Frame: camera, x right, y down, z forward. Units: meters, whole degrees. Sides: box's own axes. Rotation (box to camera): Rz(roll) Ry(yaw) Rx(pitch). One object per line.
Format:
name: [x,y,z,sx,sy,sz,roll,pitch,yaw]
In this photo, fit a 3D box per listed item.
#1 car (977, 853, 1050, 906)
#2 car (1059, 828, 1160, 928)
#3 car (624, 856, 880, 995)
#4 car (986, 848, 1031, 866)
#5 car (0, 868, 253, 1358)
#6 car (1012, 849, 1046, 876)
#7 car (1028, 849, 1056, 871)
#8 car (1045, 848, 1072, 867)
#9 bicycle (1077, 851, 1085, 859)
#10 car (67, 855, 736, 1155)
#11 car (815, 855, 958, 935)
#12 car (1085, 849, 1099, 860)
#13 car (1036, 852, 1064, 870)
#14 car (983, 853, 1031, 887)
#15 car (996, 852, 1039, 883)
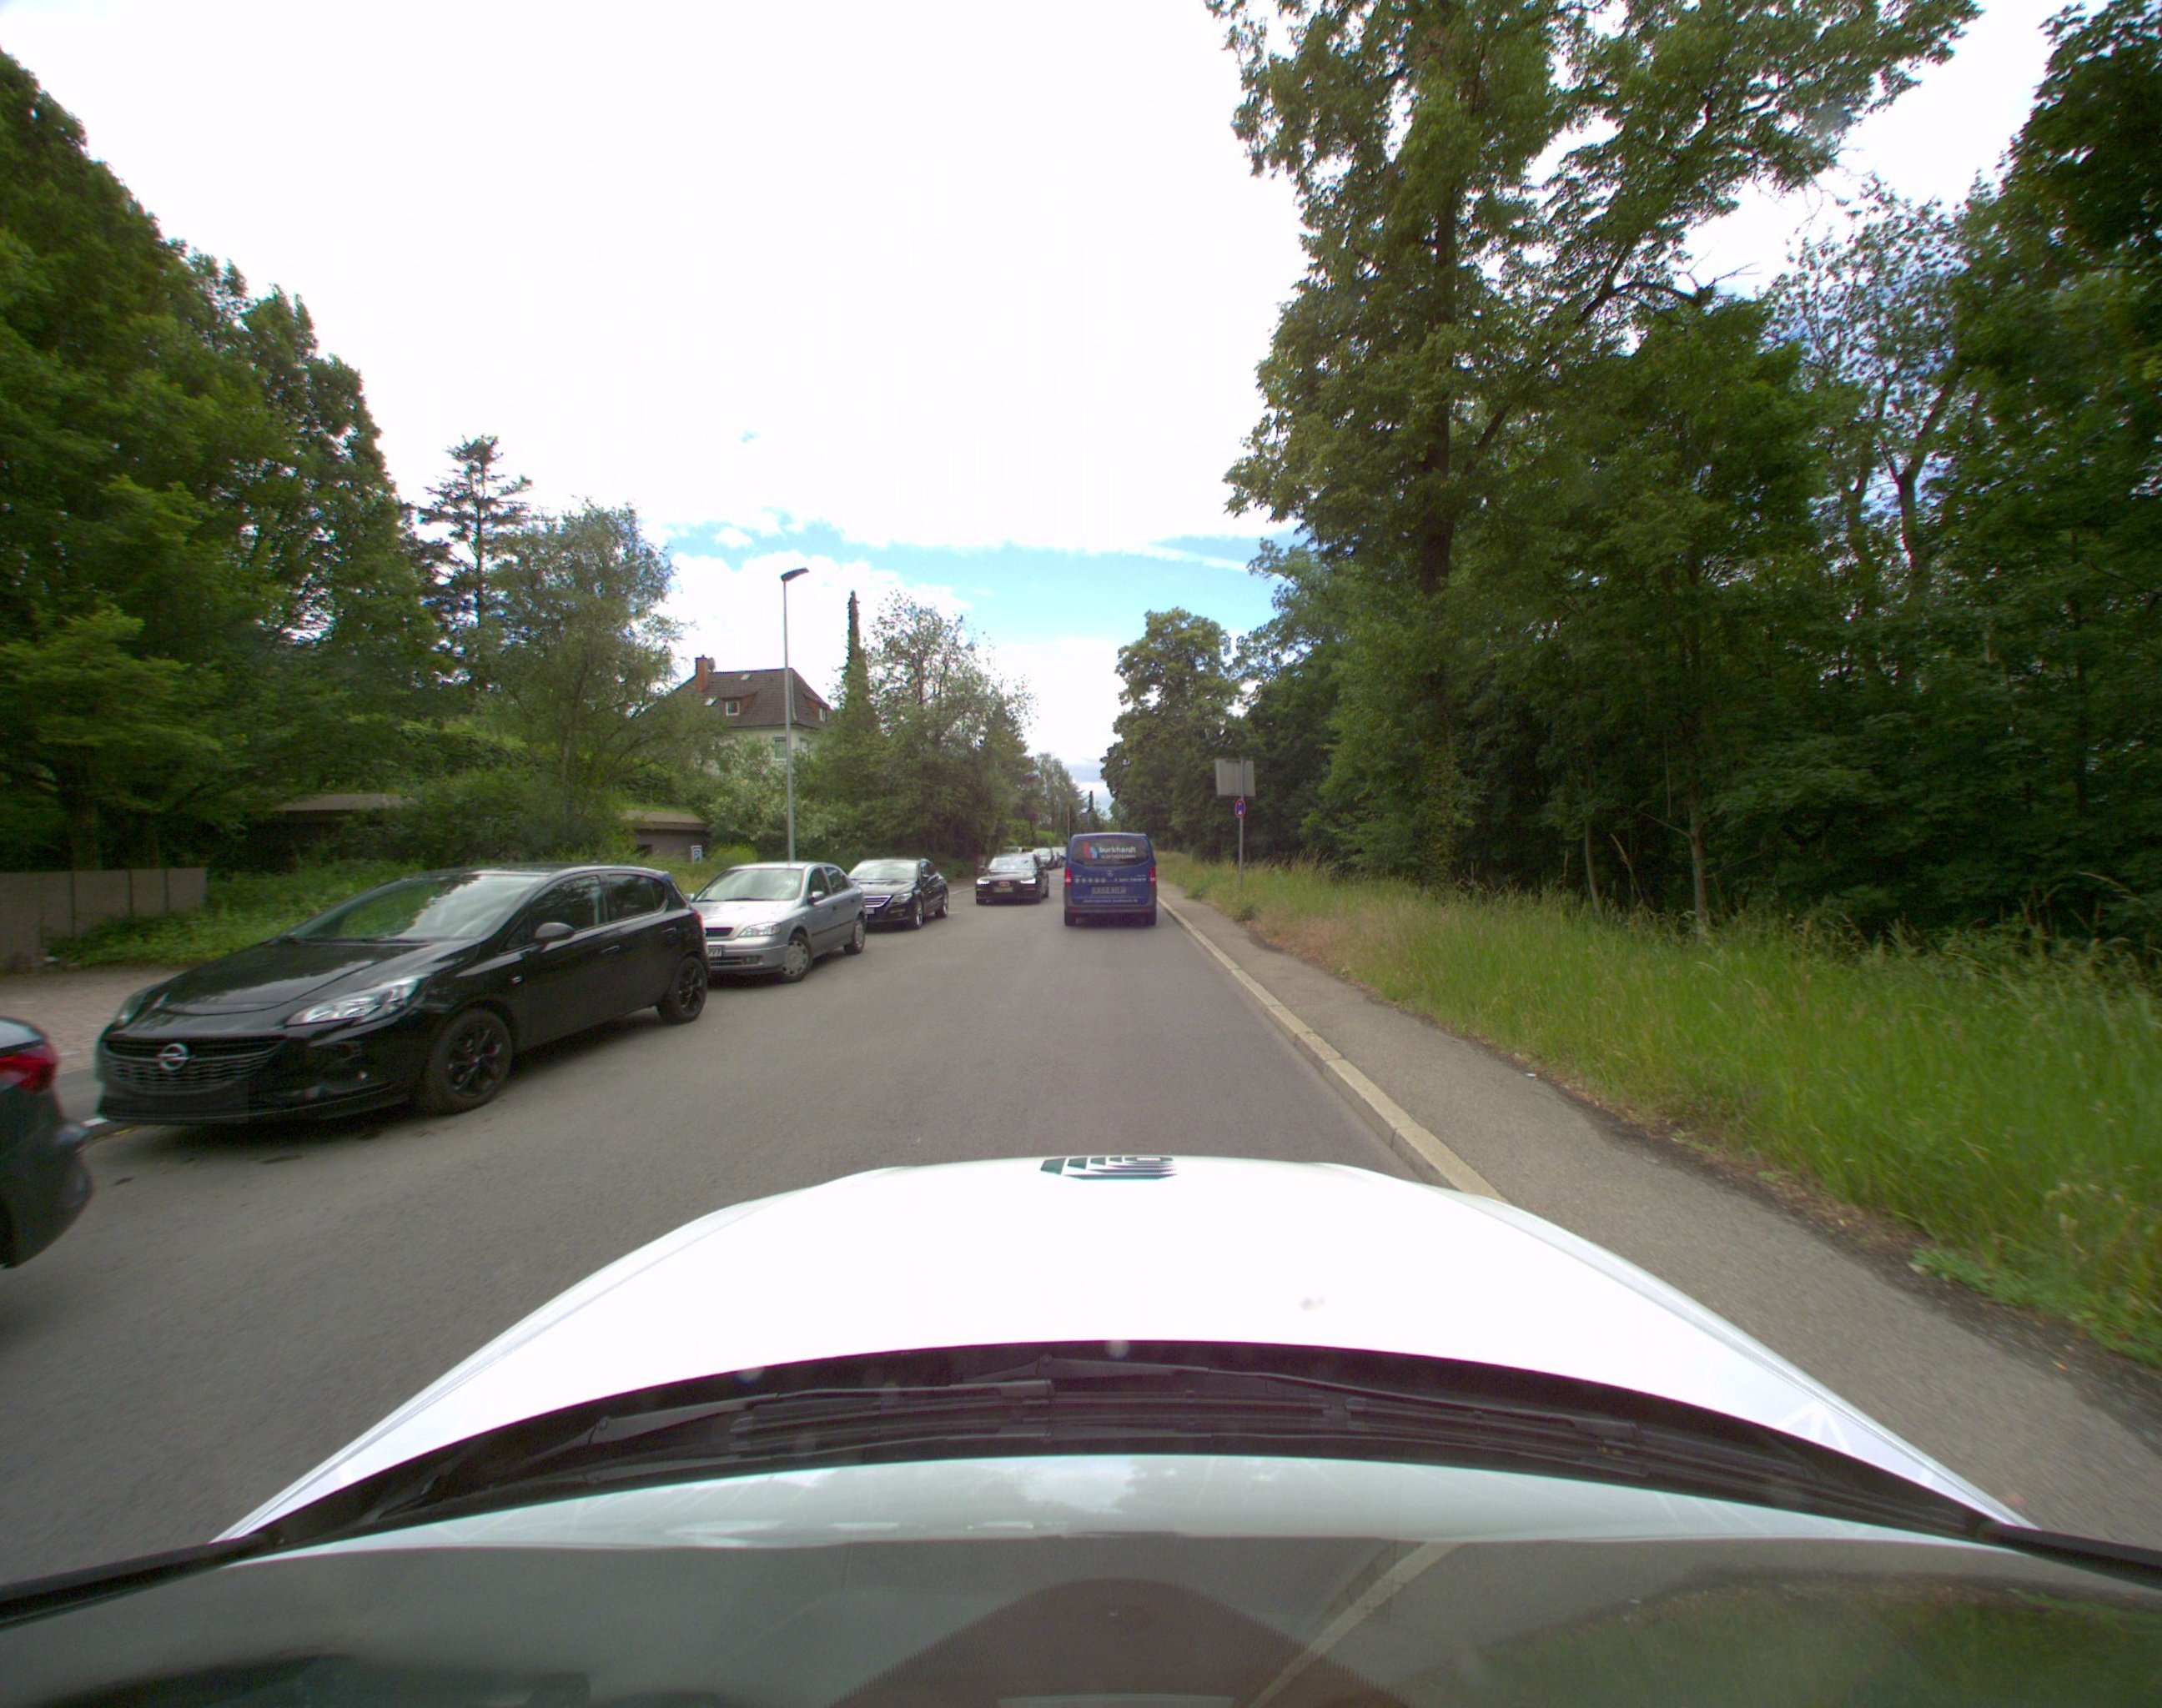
car: [-1.962,0.697,24.830,1.774,1.426,4.490,-1,0,1]
car: [0.529,0.409,17.573,1.883,1.844,3.999,-2,1,-1]
car: [-4.146,0.792,11.114,1.618,1.432,4.352,-2,0,1]
car: [-6.585,0.244,73.966,3.665,1.637,1.835,0,0,15]
car: [-4.247,0.834,0.994,1.699,1.482,4.499,-2,0,3]
car: [-3.066,0.504,48.472,1.617,1.450,4.094,-2,0,1]
car: [-2.839,0.417,60.556,1.725,1.632,4.570,0,0,2]
car: [-2.058,0.307,76.724,1.965,1.737,5.196,0,0,5]
bicycle: [-0.050,0.192,125.102,0.901,1.252,2.920,2,0,5]
car: [-4.375,0.786,6.223,1.618,1.482,4.002,-2,0,2]
car: [-3.978,0.754,17.604,1.772,1.432,5.106,-1,0,1]
car: [1.780,0.100,127.916,1.827,1.631,4.307,1,0,5]
car: [-2.469,0.519,66.001,1.746,1.412,4.904,0,0,5]
car: [-3.377,0.685,37.825,1.616,1.450,3.973,-1,0,4]
car: [-3.280,0.683,42.546,1.653,1.452,4.385,-1,0,3]
